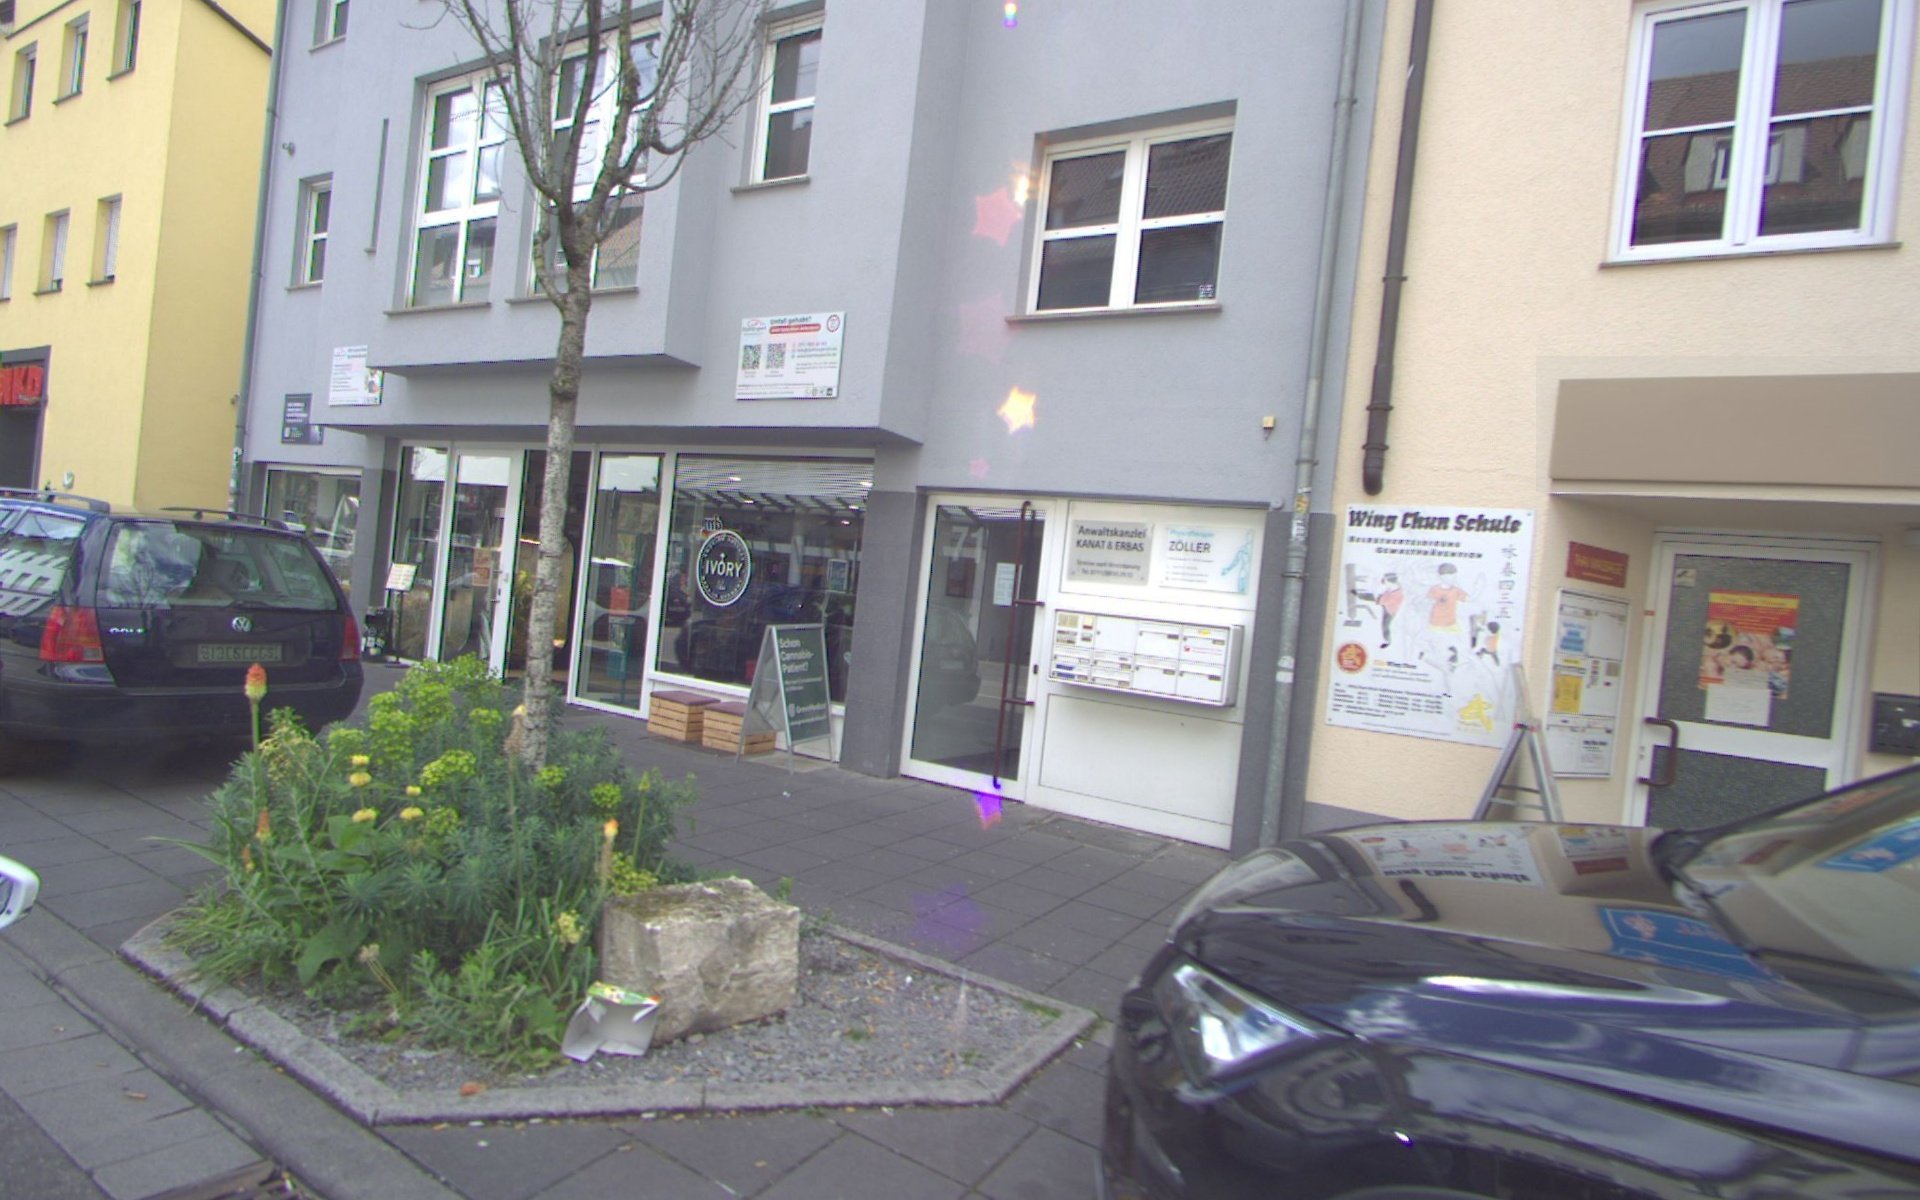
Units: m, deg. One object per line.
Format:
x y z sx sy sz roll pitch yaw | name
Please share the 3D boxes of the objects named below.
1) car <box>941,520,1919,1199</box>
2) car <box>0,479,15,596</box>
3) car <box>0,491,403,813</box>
2.229 0.925 1.574 4.130 1.624 1.802 7 2 27 | car
-10.504 -0.507 9.171 3.693 1.592 1.693 6 -2 31 | car
-5.661 0.081 6.326 4.221 1.459 1.691 6 2 28 | car
